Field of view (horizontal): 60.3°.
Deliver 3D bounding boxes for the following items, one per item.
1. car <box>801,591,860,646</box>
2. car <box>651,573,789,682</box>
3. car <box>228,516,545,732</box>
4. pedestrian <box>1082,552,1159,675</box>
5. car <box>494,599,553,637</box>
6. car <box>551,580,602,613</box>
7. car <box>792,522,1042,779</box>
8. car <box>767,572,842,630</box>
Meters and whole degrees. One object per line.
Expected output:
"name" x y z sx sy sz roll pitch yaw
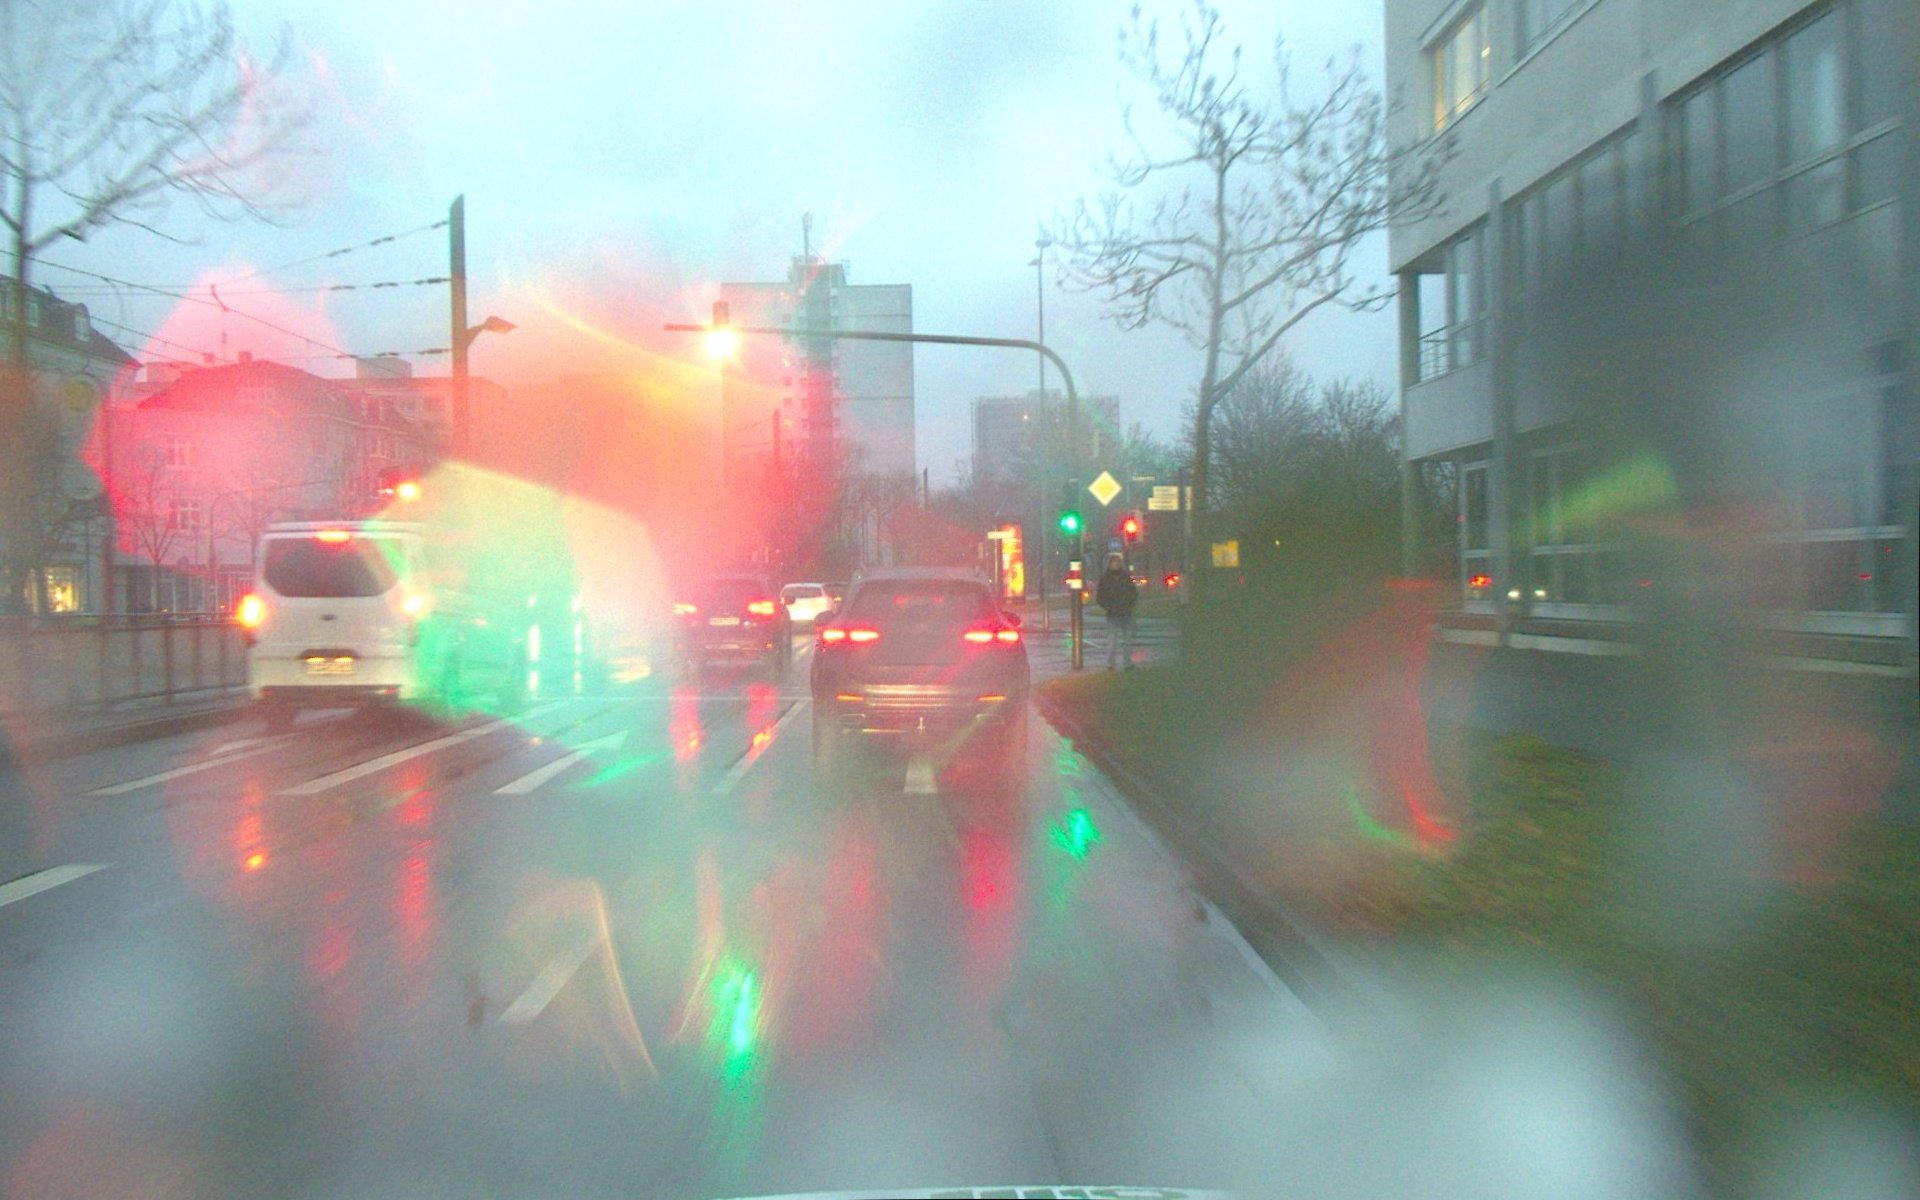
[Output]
"car" -5.026 0.709 64.619 1.952 2.049 4.000 0 0 1
"car" -4.076 0.452 28.727 1.954 1.742 4.322 0 0 -3
"car" -6.180 0.207 18.509 1.913 2.069 4.882 -1 1 -1
"pedestrian" 2.484 0.203 25.516 0.780 1.780 0.861 -5 1 25
"car" -19.370 0.780 73.520 1.769 1.635 3.997 0 0 -3
"car" -18.501 -0.145 79.961 1.555 1.556 4.931 0 0 -3
"car" -0.429 0.405 15.003 1.954 2.010 4.066 0 0 -3
"car" -4.649 0.034 49.924 1.953 1.671 4.021 0 0 -2
